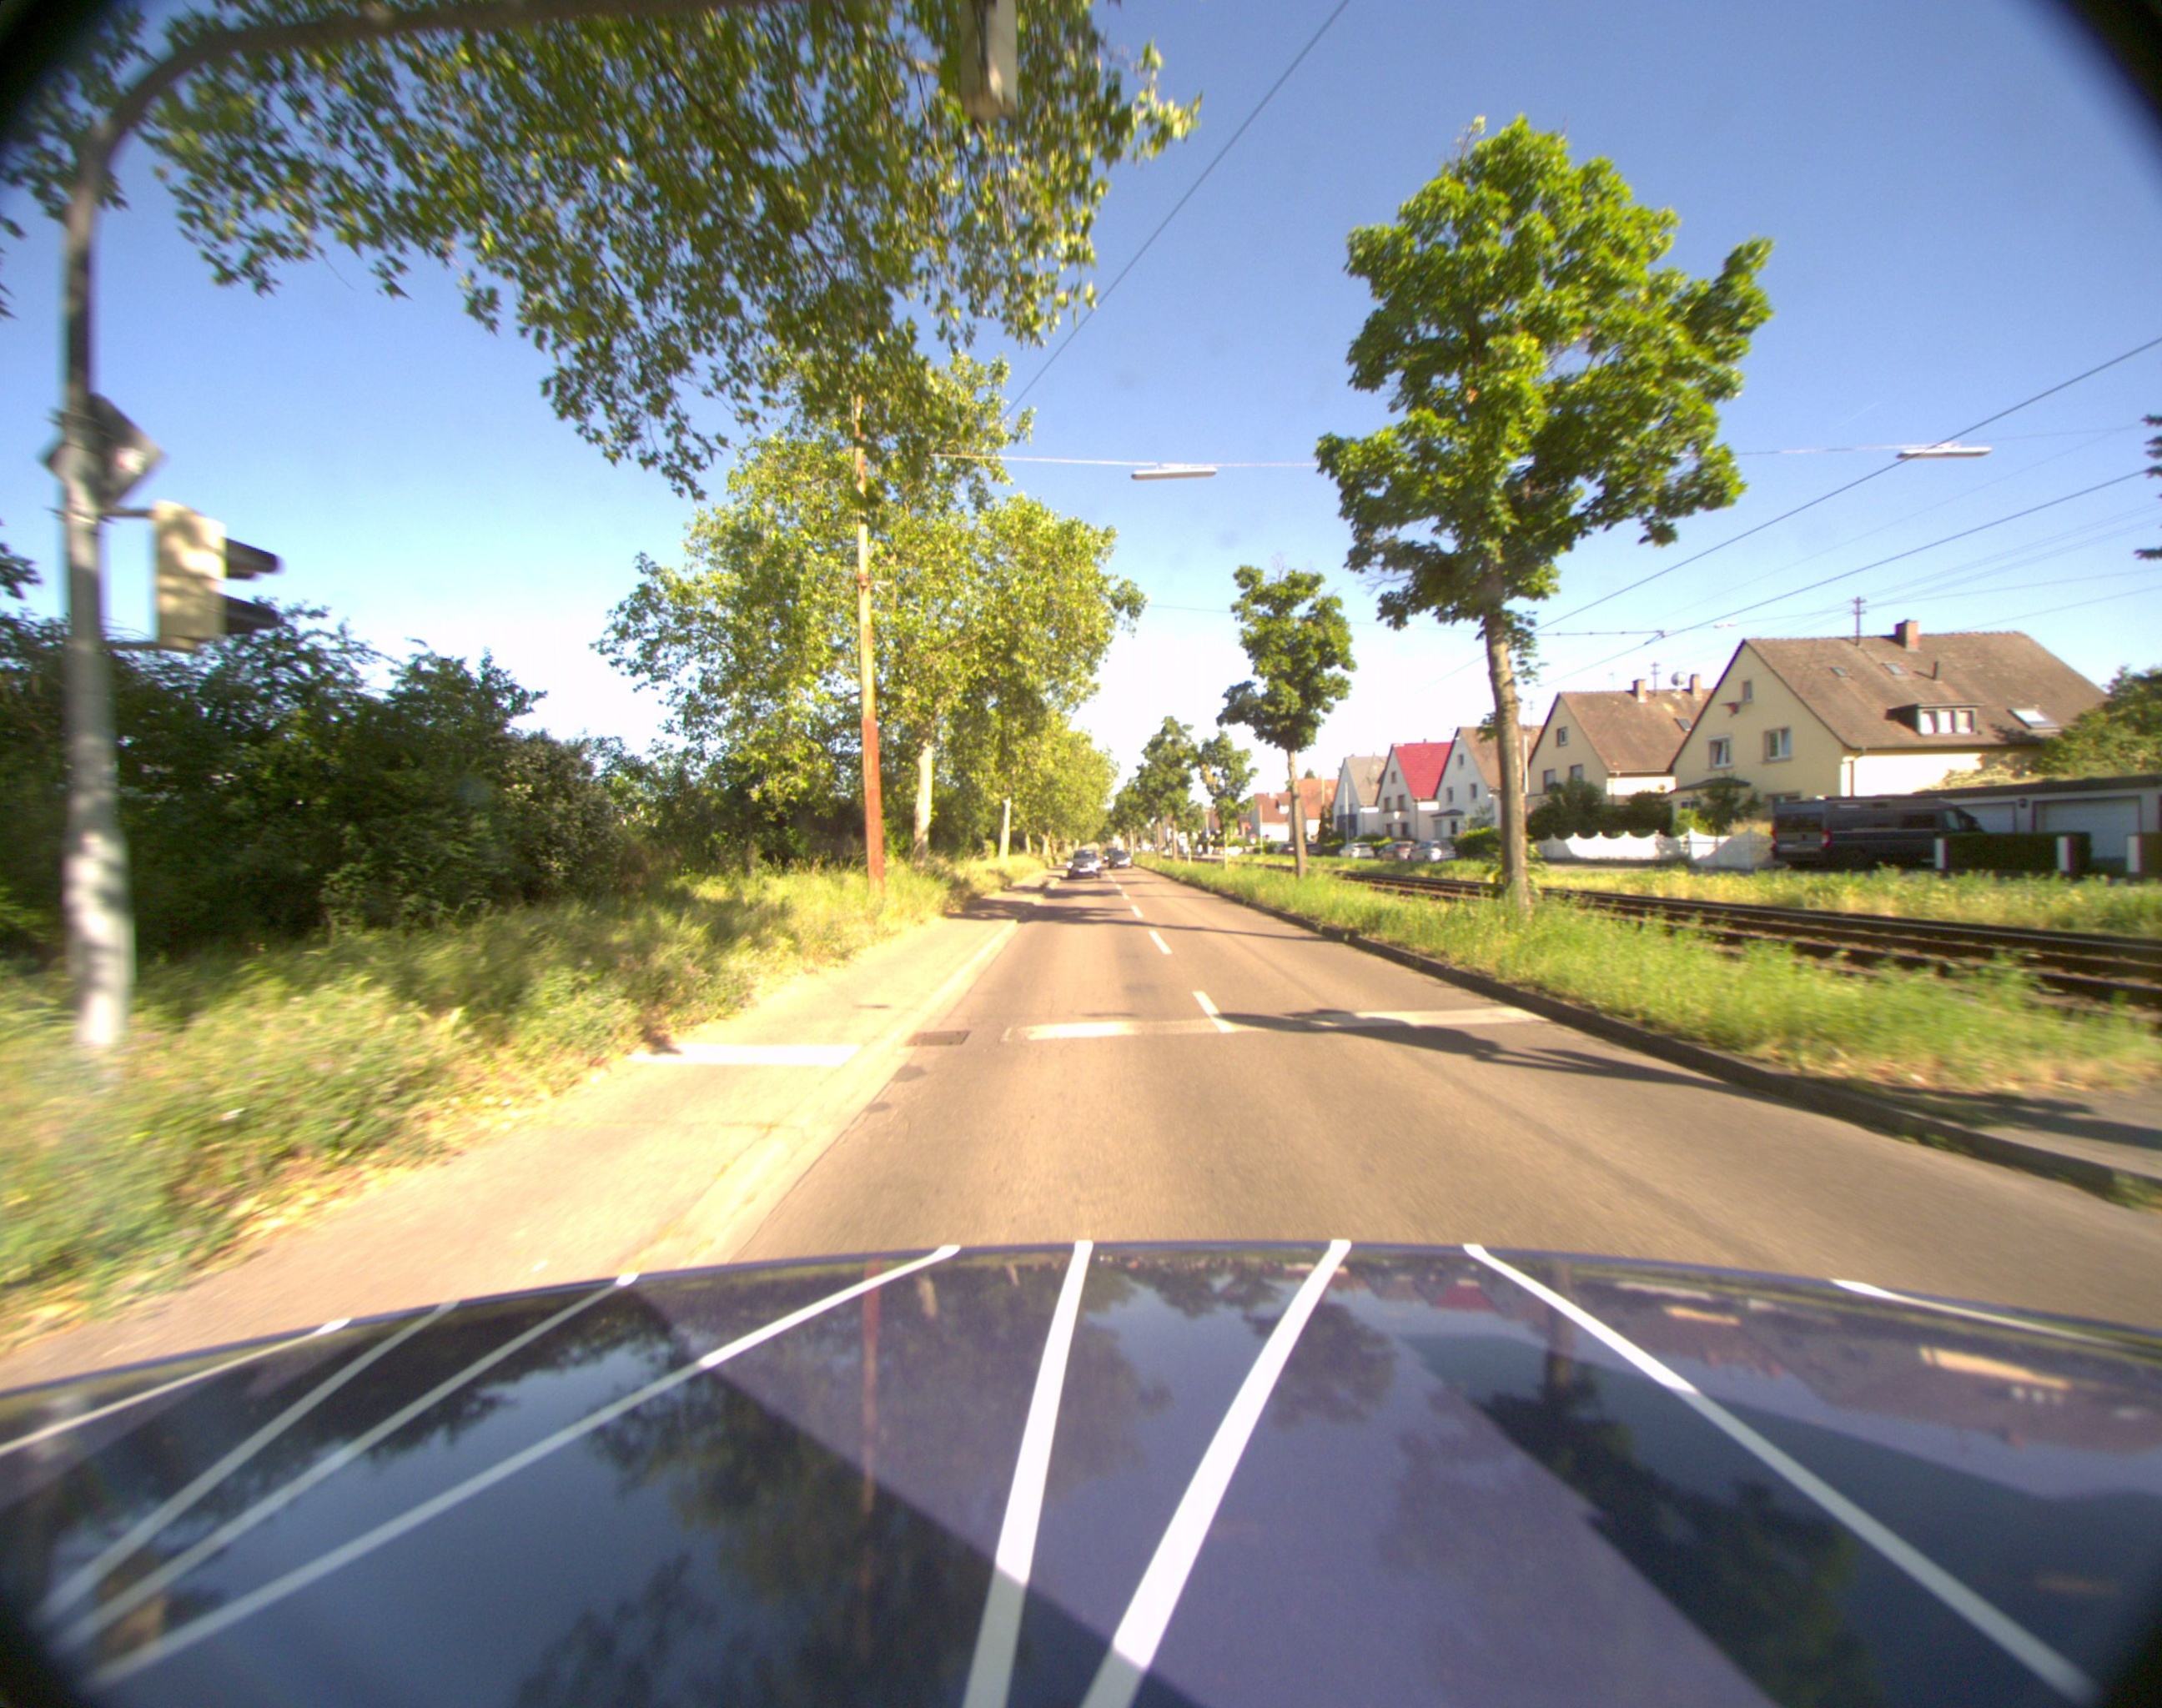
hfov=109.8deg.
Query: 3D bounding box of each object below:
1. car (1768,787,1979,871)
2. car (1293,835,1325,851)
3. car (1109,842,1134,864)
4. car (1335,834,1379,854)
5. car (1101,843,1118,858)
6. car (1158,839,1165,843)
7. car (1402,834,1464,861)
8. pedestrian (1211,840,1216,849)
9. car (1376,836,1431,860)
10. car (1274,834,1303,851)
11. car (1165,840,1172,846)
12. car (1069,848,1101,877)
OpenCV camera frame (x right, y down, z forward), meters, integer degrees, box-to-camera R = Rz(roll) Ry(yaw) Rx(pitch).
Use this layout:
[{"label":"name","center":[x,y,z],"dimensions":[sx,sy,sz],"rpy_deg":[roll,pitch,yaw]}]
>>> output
[{"label":"car","center":[27.308,-0.839,26.318],"dimensions":[5.041,2.610,2.102],"rpy_deg":[-2,1,1]},{"label":"car","center":[22.507,-1.115,75.145],"dimensions":[1.931,1.486,4.255],"rpy_deg":[-3,1,1]},{"label":"car","center":[3.029,-0.096,57.739],"dimensions":[1.692,1.499,3.582],"rpy_deg":[-3,1,1]},{"label":"car","center":[22.199,-0.825,61.265],"dimensions":[1.998,1.418,4.410],"rpy_deg":[-3,1,3]},{"label":"car","center":[3.067,-0.419,81.182],"dimensions":[1.692,1.499,3.582],"rpy_deg":[-3,1,1]},{"label":"car","center":[24.244,-3.925,229.219],"dimensions":[1.756,1.373,3.822],"rpy_deg":[-3,1,1]},{"label":"car","center":[21.929,-0.451,47.497],"dimensions":[1.951,1.545,4.055],"rpy_deg":[-3,1,1]},{"label":"pedestrian","center":[22.783,-1.624,130.802],"dimensions":[0.813,1.525,0.794],"rpy_deg":[-2,0,2]},{"label":"car","center":[22.061,-0.454,52.131],"dimensions":[1.998,1.441,4.127],"rpy_deg":[-5,1,1]},{"label":"car","center":[22.771,-1.271,83.669],"dimensions":[1.998,1.703,4.390],"rpy_deg":[-3,1,1]},{"label":"car","center":[24.473,-3.049,212.401],"dimensions":[1.738,1.481,3.755],"rpy_deg":[-3,1,1]},{"label":"car","center":[0.246,0.427,41.448],"dimensions":[1.692,1.499,3.582],"rpy_deg":[0,1,1]}]
